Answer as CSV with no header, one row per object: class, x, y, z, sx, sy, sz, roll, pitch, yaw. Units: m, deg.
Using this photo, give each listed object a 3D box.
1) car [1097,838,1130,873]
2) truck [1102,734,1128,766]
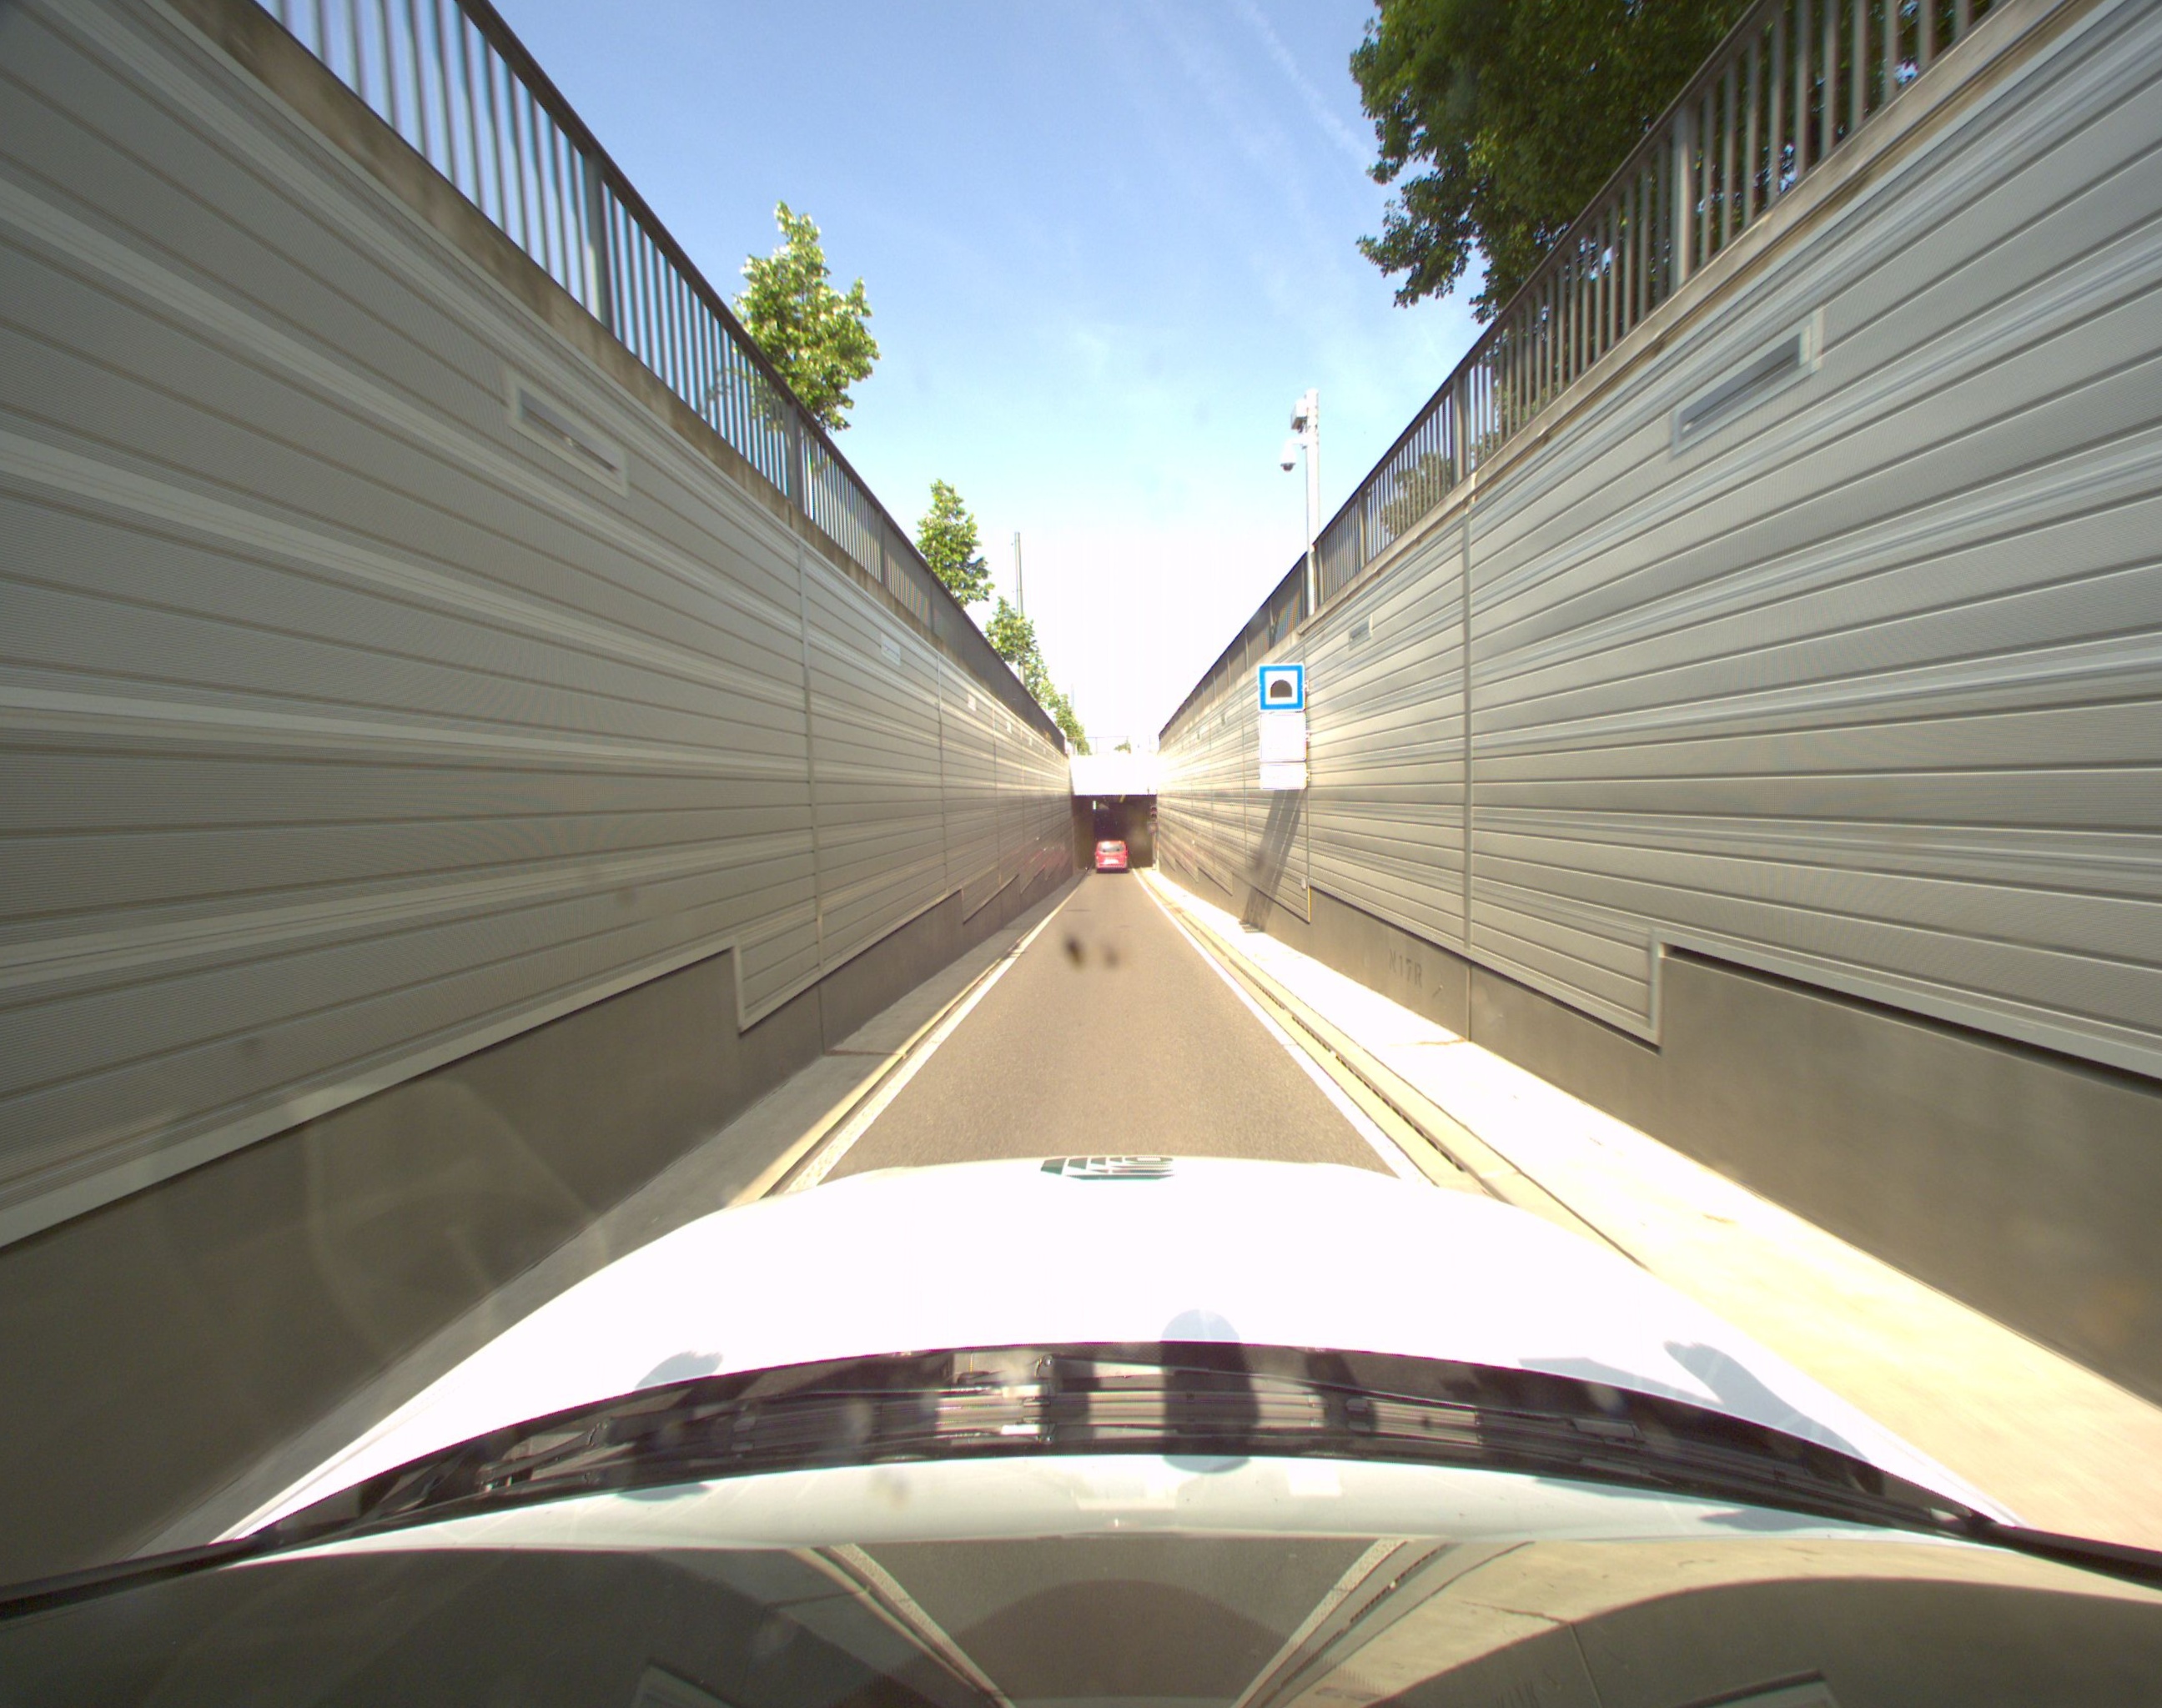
car,1.908,0.044,48.539,1.894,1.859,4.003,0,2,2
truck,4.707,-14.536,114.846,3.378,3.724,10.460,-2,4,2
